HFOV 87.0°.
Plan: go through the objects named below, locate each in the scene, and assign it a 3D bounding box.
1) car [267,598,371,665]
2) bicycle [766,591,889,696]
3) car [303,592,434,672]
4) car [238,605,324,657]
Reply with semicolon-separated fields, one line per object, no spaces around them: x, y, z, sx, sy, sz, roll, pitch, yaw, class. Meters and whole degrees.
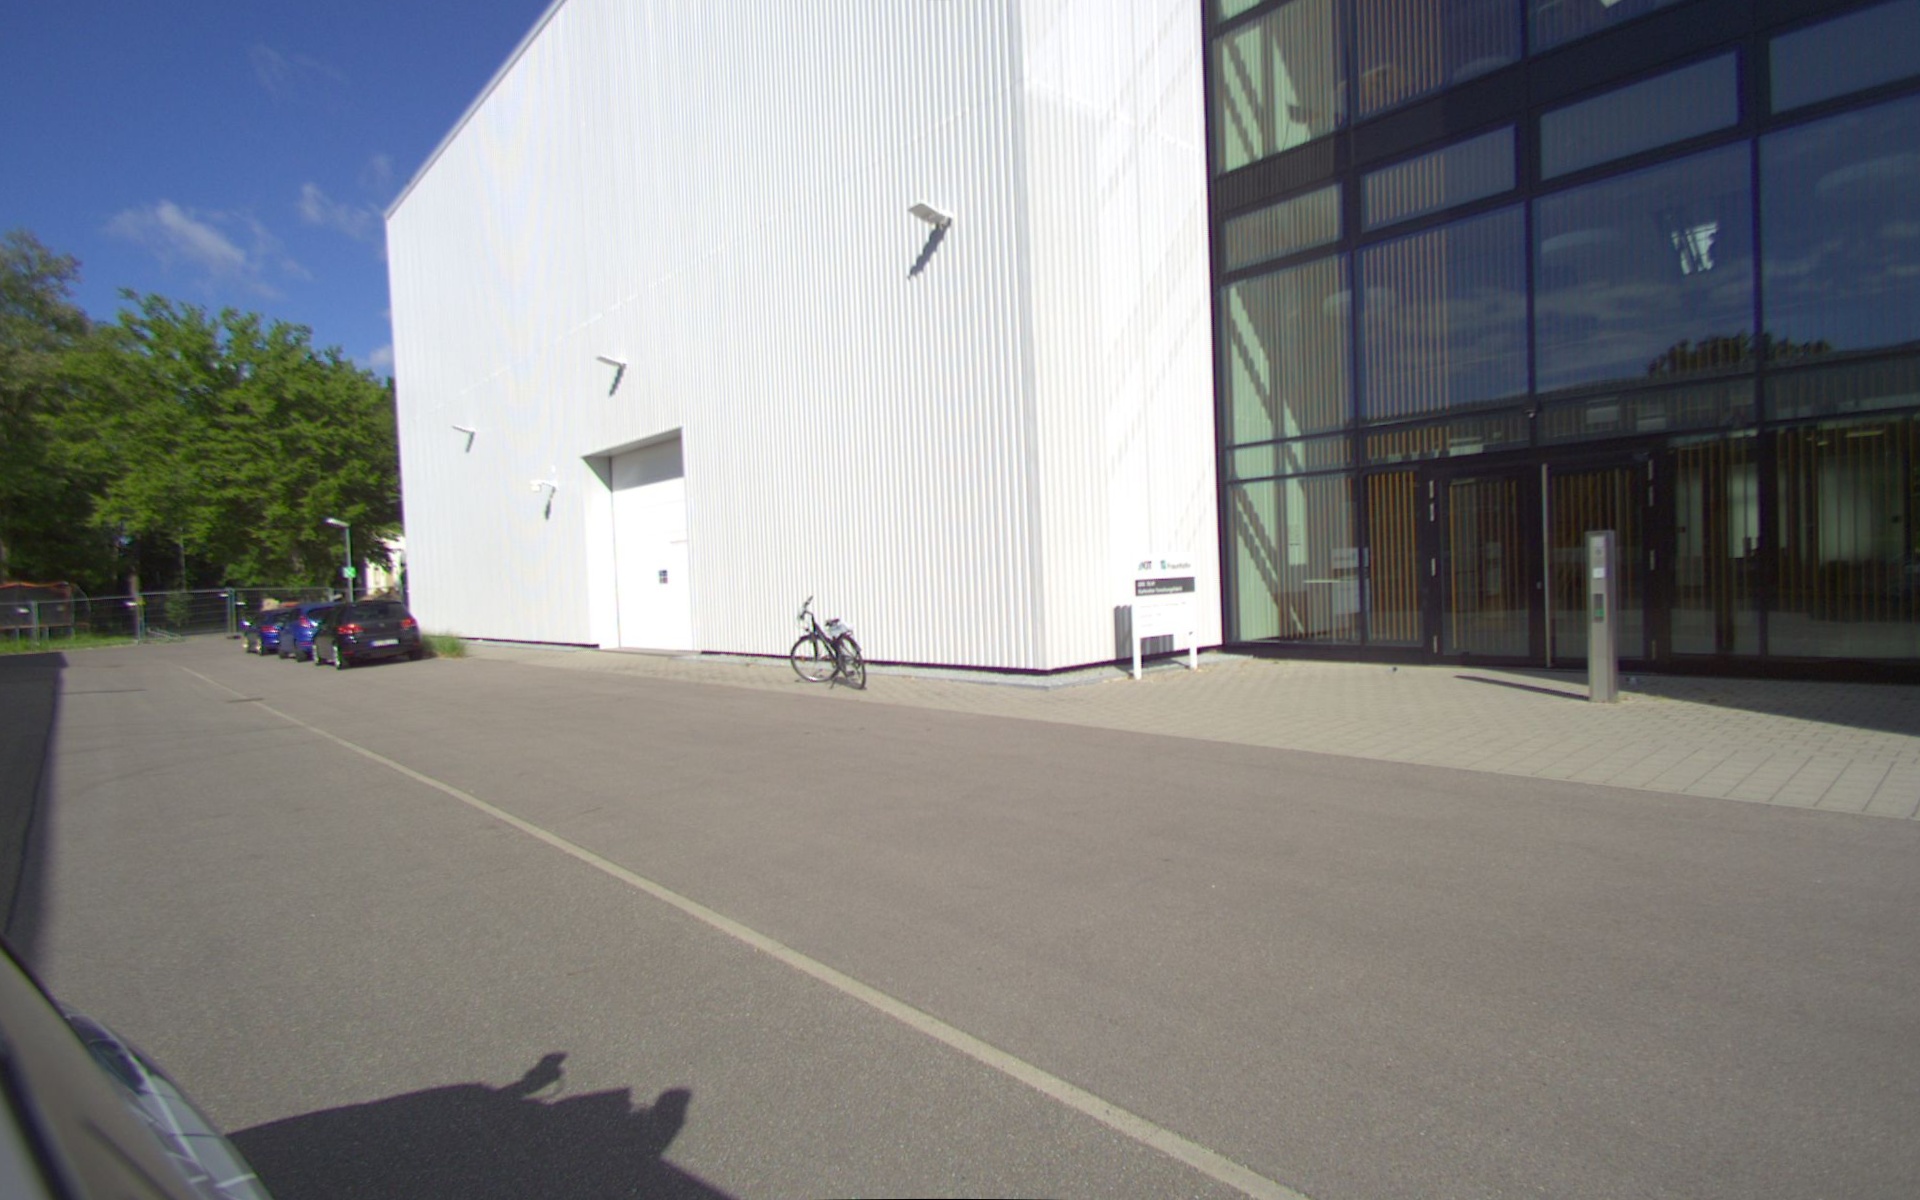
-17.412;0.808;27.404;1.764;1.532;4.007;-7;4;-40;car
-1.737;0.507;13.003;0.895;1.151;1.906;-6;4;-27;bicycle
-13.825;0.707;23.561;1.868;1.532;4.007;-7;4;-40;car
-21.147;0.930;31.451;1.763;1.451;4.007;-2;1;-40;car
